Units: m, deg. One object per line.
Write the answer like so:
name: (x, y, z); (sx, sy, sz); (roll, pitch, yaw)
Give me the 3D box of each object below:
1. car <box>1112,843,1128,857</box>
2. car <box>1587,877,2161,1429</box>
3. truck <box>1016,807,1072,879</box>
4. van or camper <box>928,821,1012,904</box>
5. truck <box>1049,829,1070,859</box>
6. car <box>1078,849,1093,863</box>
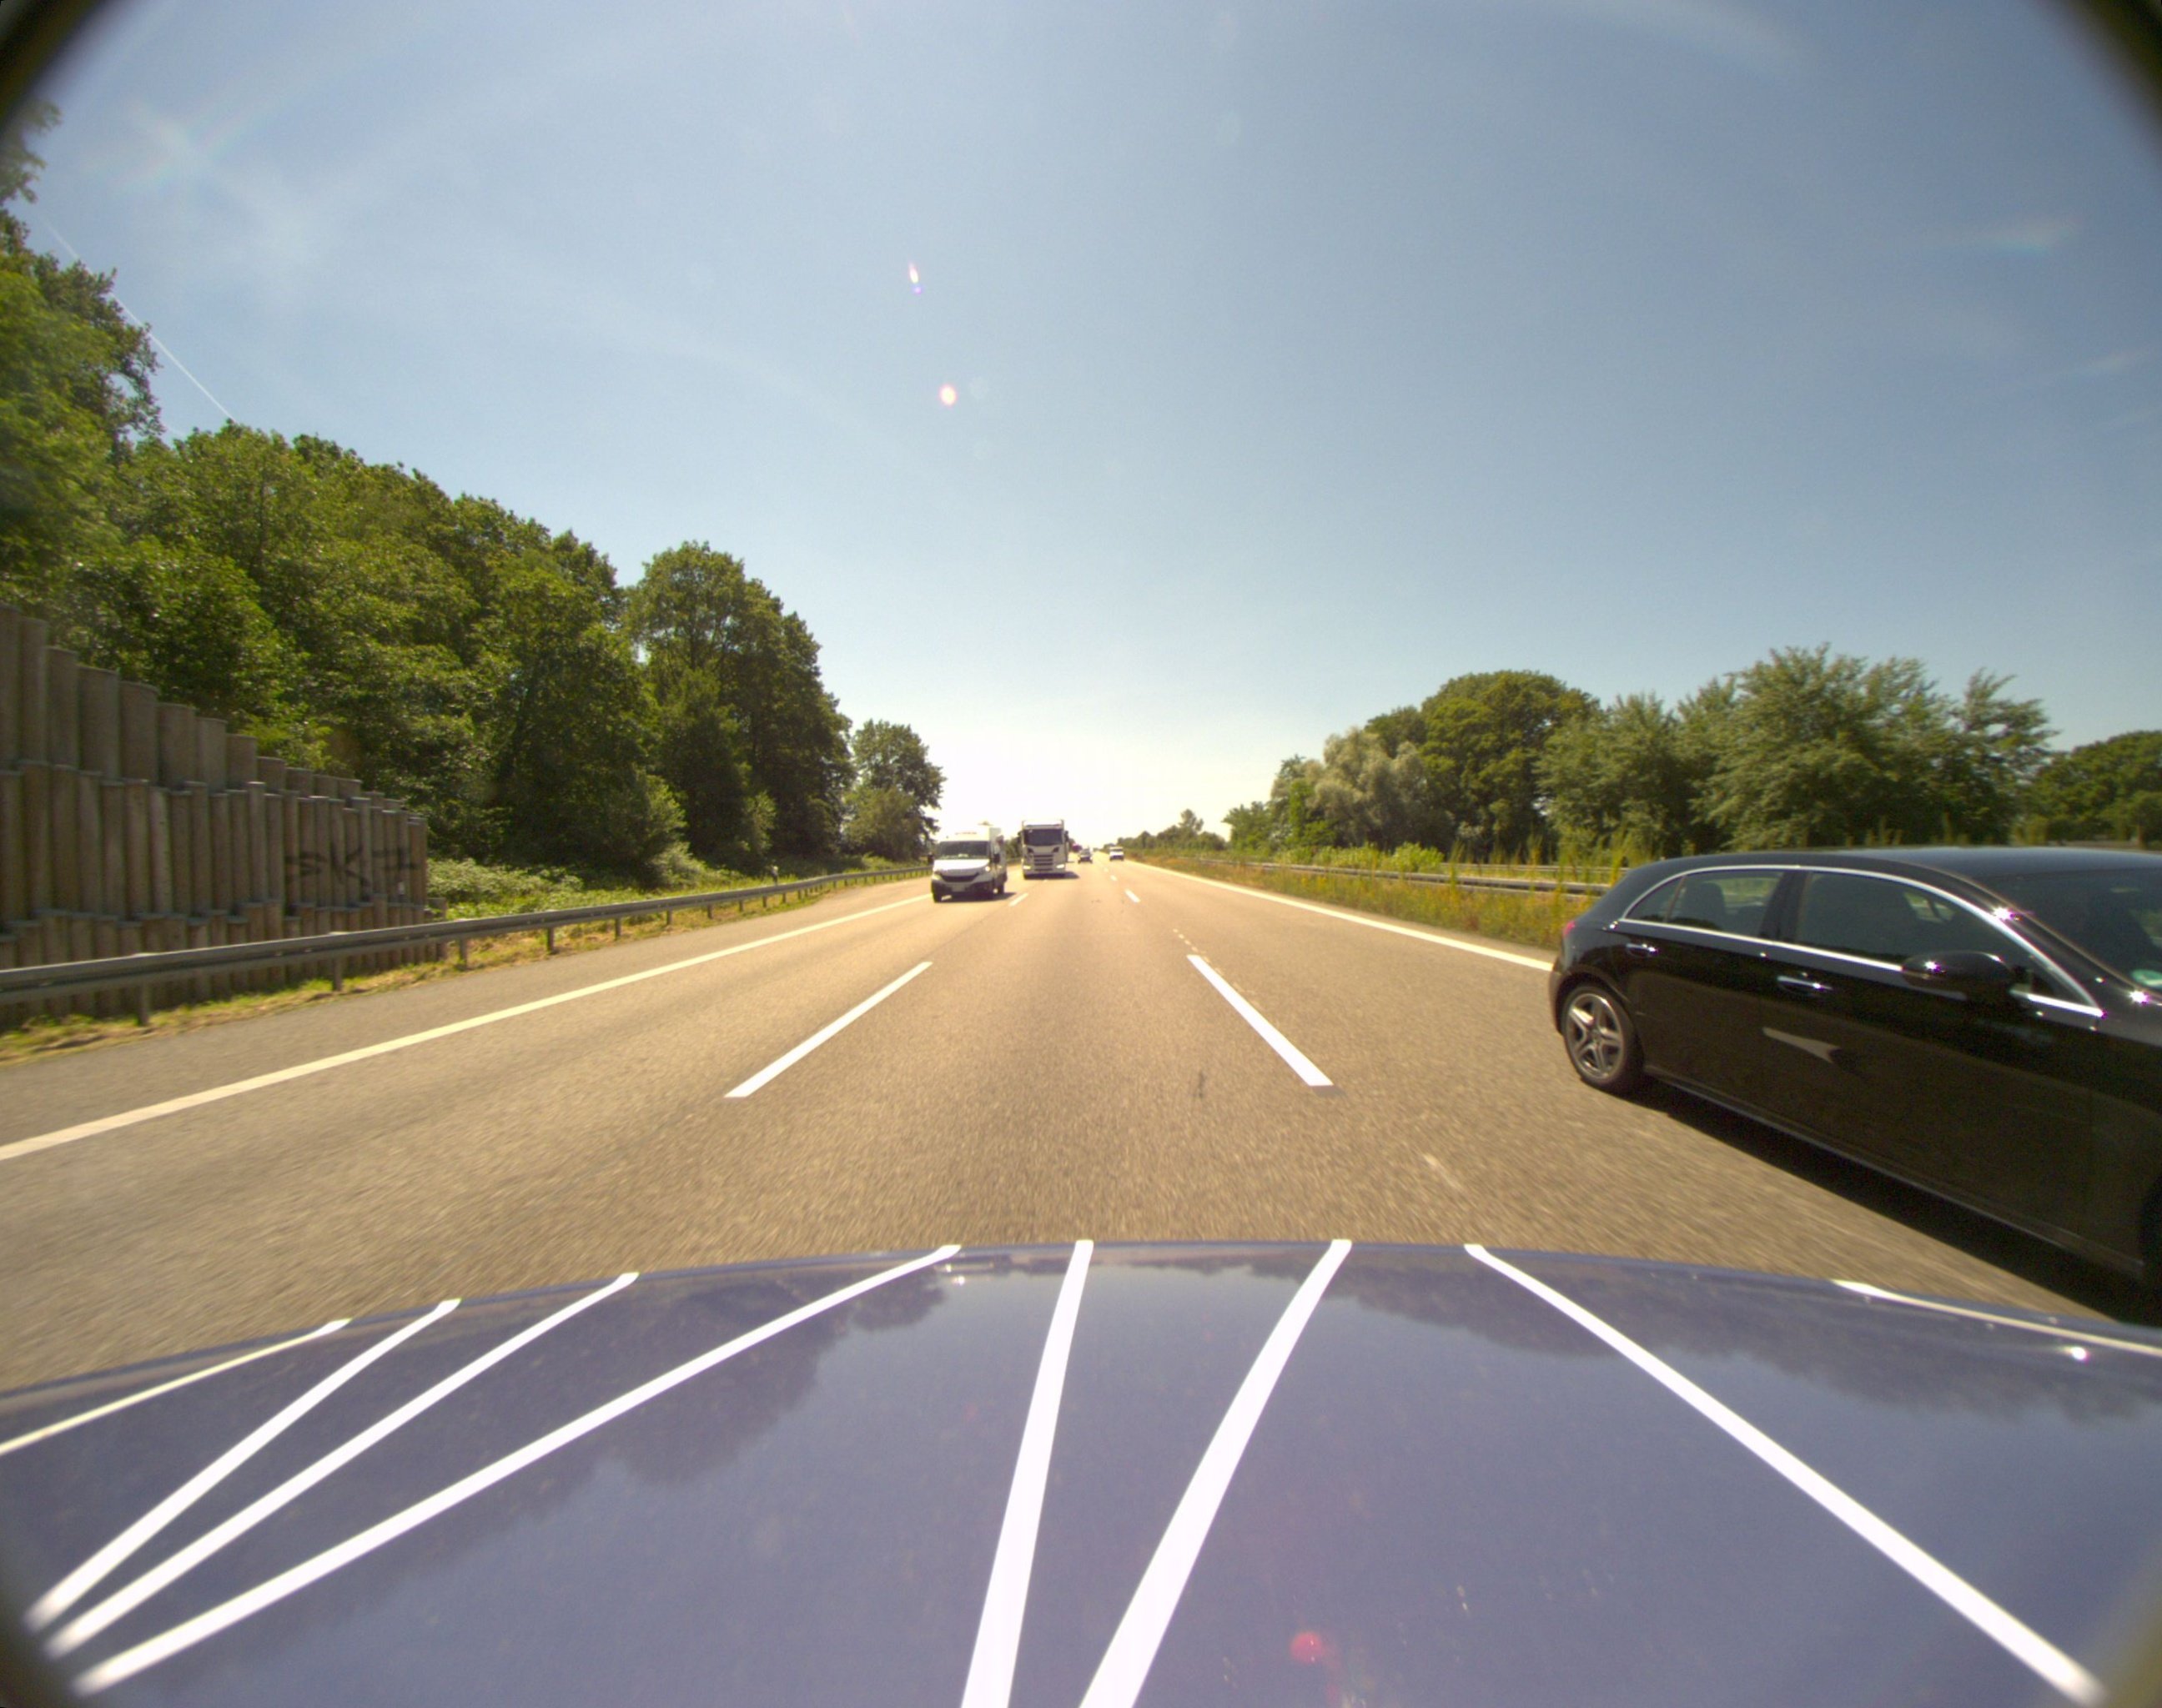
car: (5.608, -0.577, 109.491); (2.147, 1.810, 5.266); (-1, 1, 1)
car: (3.855, 0.862, 2.416); (1.796, 1.403, 4.052); (-1, 0, 0)
truck: (-2.158, -0.657, 46.718); (2.896, 4.007, 6.869); (-2, 1, 1)
van or camper: (-3.889, 0.236, 27.821); (2.027, 2.622, 6.486); (-2, 1, 0)
truck: (-3.004, -1.411, 105.783); (2.559, 3.932, 6.513); (-1, 1, 0)
car: (0.619, 0.252, 95.302); (1.796, 1.696, 4.000); (1, 1, 1)
